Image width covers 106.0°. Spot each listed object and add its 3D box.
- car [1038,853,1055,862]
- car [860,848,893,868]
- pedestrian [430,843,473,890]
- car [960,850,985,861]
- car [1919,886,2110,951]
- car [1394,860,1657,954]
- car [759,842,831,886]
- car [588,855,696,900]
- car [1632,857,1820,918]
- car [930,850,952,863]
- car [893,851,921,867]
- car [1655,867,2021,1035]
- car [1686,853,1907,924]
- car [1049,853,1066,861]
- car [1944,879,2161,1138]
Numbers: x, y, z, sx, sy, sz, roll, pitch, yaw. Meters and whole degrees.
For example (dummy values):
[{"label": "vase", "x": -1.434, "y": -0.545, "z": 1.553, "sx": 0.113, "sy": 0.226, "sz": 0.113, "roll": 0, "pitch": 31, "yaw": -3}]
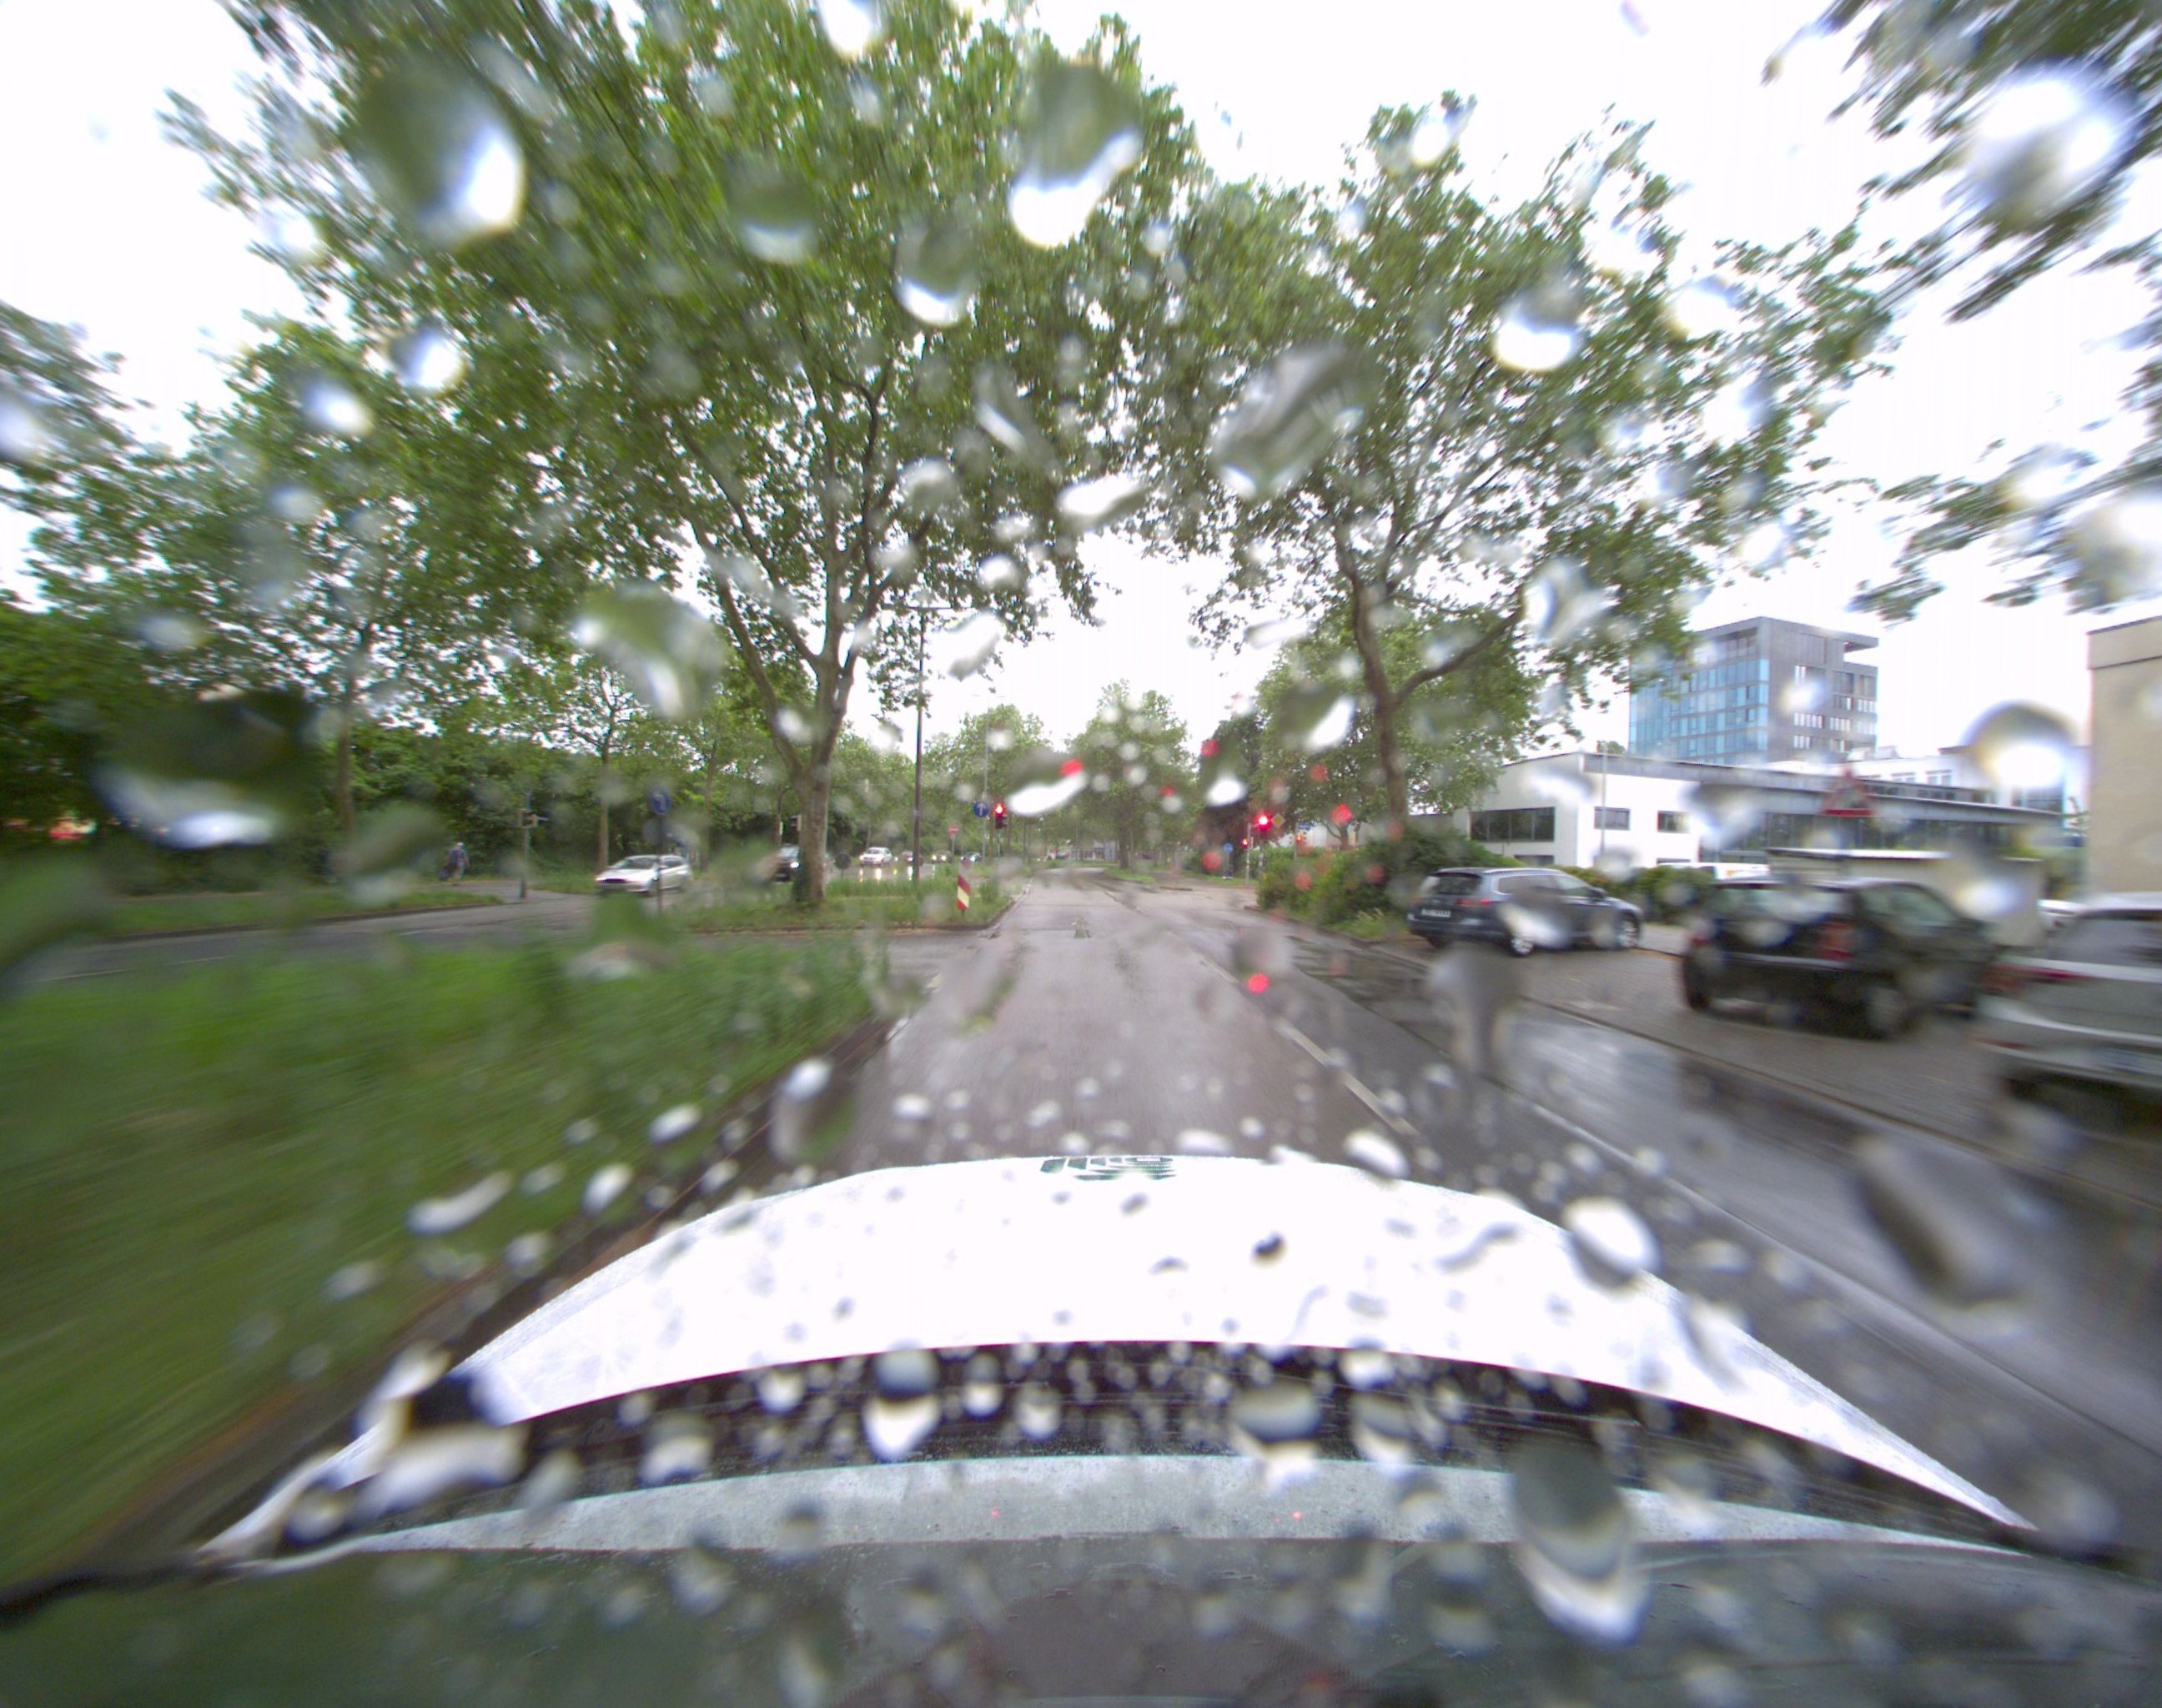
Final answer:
[{"label": "car", "x": -5.457, "y": 0.619, "z": 129.237, "sx": 1.576, "sy": 1.373, "sz": 4.278, "roll": 1, "pitch": 0, "yaw": 14}, {"label": "car", "x": -17.384, "y": 0.314, "z": 69.438, "sx": 1.738, "sy": 1.631, "sz": 4.443, "roll": 1, "pitch": 0, "yaw": 0}, {"label": "pedestrian", "x": -22.980, "y": 0.453, "z": 29.740, "sx": 0.828, "sy": 1.674, "sz": 0.899, "roll": 1, "pitch": 0, "yaw": -3}, {"label": "car", "x": -13.436, "y": 0.219, "z": 101.010, "sx": 1.576, "sy": 1.373, "sz": 4.277, "roll": 1, "pitch": 0, "yaw": 13}, {"label": "car", "x": 29.366, "y": 1.969, "z": 25.803, "sx": 1.738, "sy": 1.757, "sz": 3.762, "roll": 1, "pitch": 0, "yaw": -1}, {"label": "car", "x": 7.933, "y": 0.884, "z": 14.491, "sx": 4.501, "sy": 1.459, "sz": 1.735, "roll": 1, "pitch": 0, "yaw": -24}, {"label": "car", "x": -13.111, "y": 0.443, "z": 37.667, "sx": 1.739, "sy": 1.842, "sz": 5.115, "roll": 1, "pitch": 0, "yaw": -3}, {"label": "car", "x": -15.705, "y": 0.789, "z": 29.388, "sx": 1.739, "sy": 1.476, "sz": 4.230, "roll": 1, "pitch": 0, "yaw": -3}, {"label": "car", "x": 19.689, "y": 0.999, "z": 24.961, "sx": 4.529, "sy": 1.757, "sz": 1.778, "roll": 1, "pitch": 0, "yaw": -5}, {"label": "car", "x": -15.625, "y": 0.276, "z": 90.916, "sx": 1.580, "sy": 1.373, "sz": 3.338, "roll": 1, "pitch": 0, "yaw": 5}, {"label": "car", "x": -16.915, "y": 0.478, "z": 79.442, "sx": 1.738, "sy": 1.408, "sz": 4.443, "roll": 1, "pitch": 0, "yaw": -1}, {"label": "car", "x": 8.090, "y": 0.884, "z": 8.676, "sx": 3.701, "sy": 1.416, "sz": 1.733, "roll": 1, "pitch": 0, "yaw": -28}, {"label": "car", "x": 19.200, "y": 0.894, "z": 21.971, "sx": 4.525, "sy": 1.757, "sz": 1.748, "roll": 1, "pitch": 0, "yaw": -2}, {"label": "car", "x": -6.013, "y": 0.815, "z": 207.462, "sx": 3.988, "sy": 2.014, "sz": 1.993, "roll": 2, "pitch": -2, "yaw": -11}, {"label": "car", "x": 7.684, "y": 0.911, "z": 5.409, "sx": 3.701, "sy": 1.416, "sz": 1.760, "roll": 1, "pitch": 0, "yaw": -28}]
